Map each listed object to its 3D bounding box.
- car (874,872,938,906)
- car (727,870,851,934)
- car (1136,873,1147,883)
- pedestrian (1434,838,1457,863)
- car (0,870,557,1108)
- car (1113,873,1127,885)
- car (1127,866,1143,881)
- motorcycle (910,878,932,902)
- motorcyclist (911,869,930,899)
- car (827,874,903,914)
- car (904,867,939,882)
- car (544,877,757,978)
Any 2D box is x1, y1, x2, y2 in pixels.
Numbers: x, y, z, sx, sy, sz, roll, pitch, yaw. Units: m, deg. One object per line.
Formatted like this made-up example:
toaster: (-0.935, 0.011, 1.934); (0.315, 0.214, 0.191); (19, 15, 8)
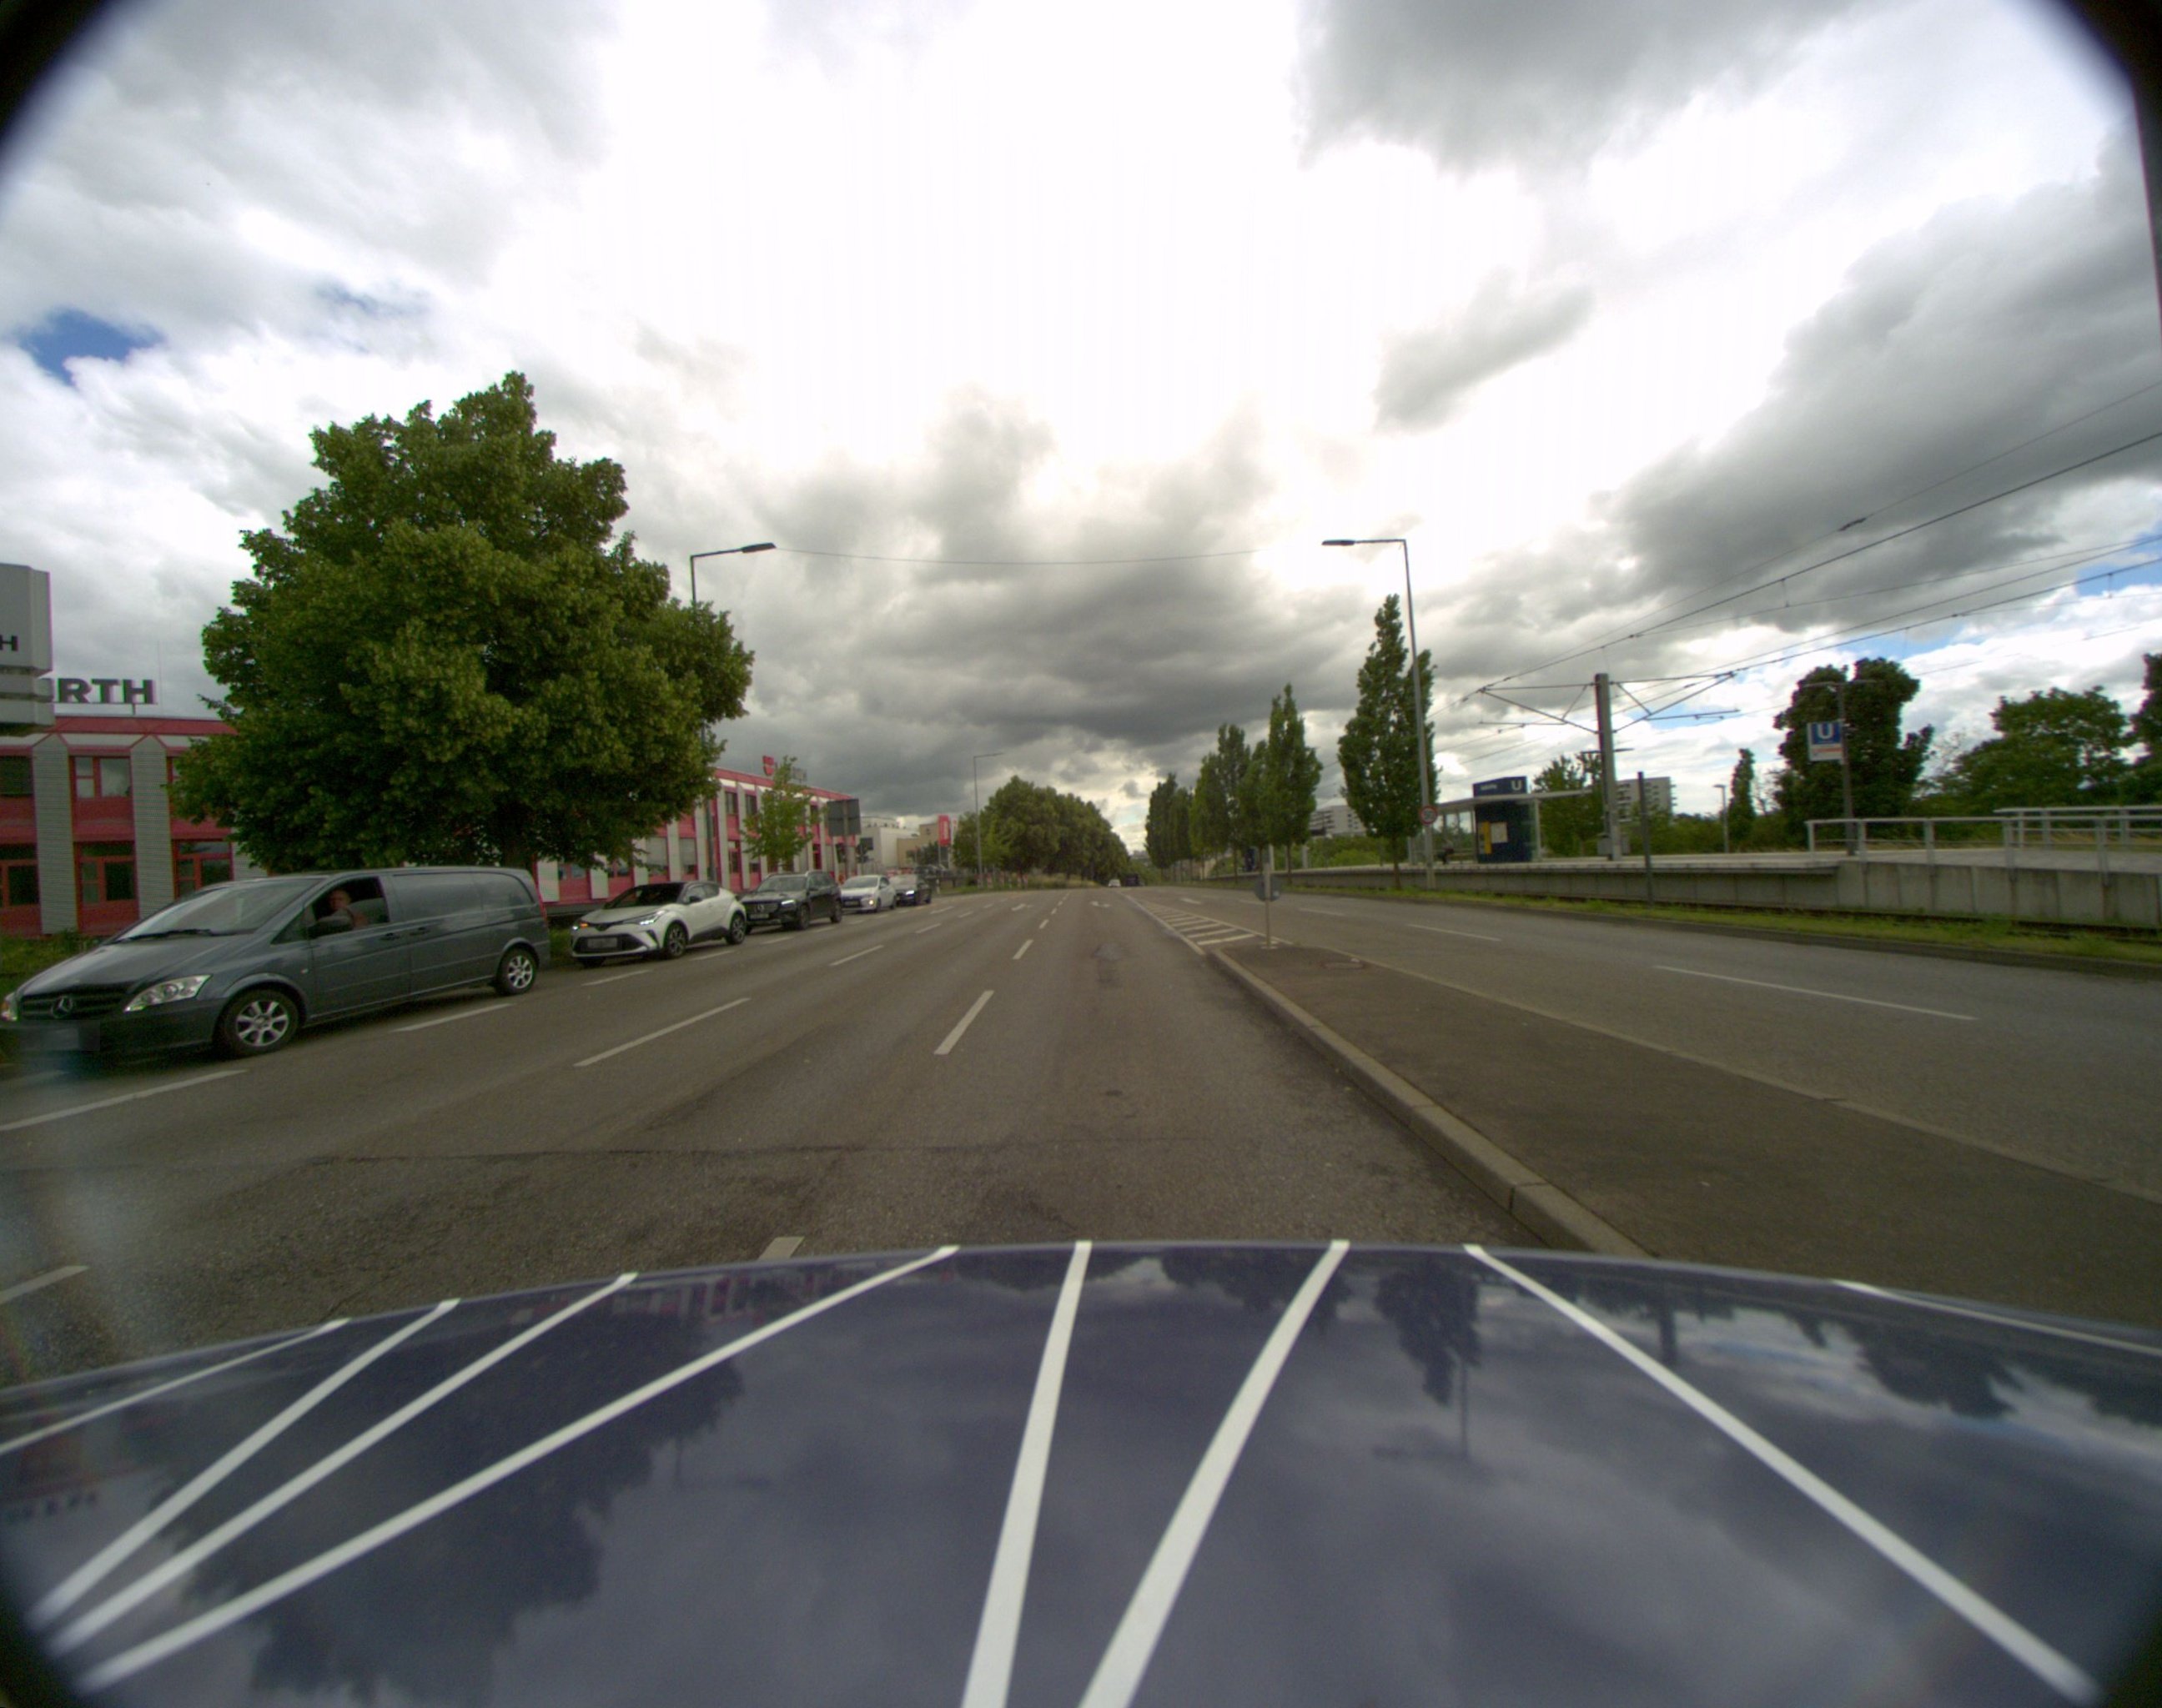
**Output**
car: (-8.014, 1.587, 35.203); (1.785, 1.437, 4.530); (-1, -2, 1)
car: (-8.368, 1.323, 22.210); (1.785, 1.639, 4.427); (-1, -2, 1)
car: (11.261, 4.579, 141.702); (1.869, 1.754, 4.843); (-2, -3, 5)
pedestrian: (17.628, -0.176, 36.729); (0.663, 1.195, 0.782); (-2, 0, -7)
car: (-8.828, 1.223, 8.831); (1.920, 1.823, 4.722); (-5, 0, 2)
car: (6.566, 4.193, 126.686); (1.998, 1.791, 4.841); (-2, 0, 6)
car: (6.886, 2.493, 96.283); (1.869, 1.674, 4.843); (-2, -3, 5)
motorcycle: (-8.316, 1.858, 39.508); (0.750, 1.140, 1.943); (-4, -1, -3)
motorcyclist: (-8.336, 1.563, 39.484); (0.750, 1.481, 0.933); (-4, -1, -3)
car: (-8.466, 1.551, 30.102); (1.785, 1.434, 3.836); (-1, -2, 1)
car: (-21.208, 2.682, 101.002); (4.248, 1.744, 1.784); (-2, 0, 2)
car: (-8.556, 1.377, 15.634); (1.785, 1.526, 4.305); (-5, 0, 0)
